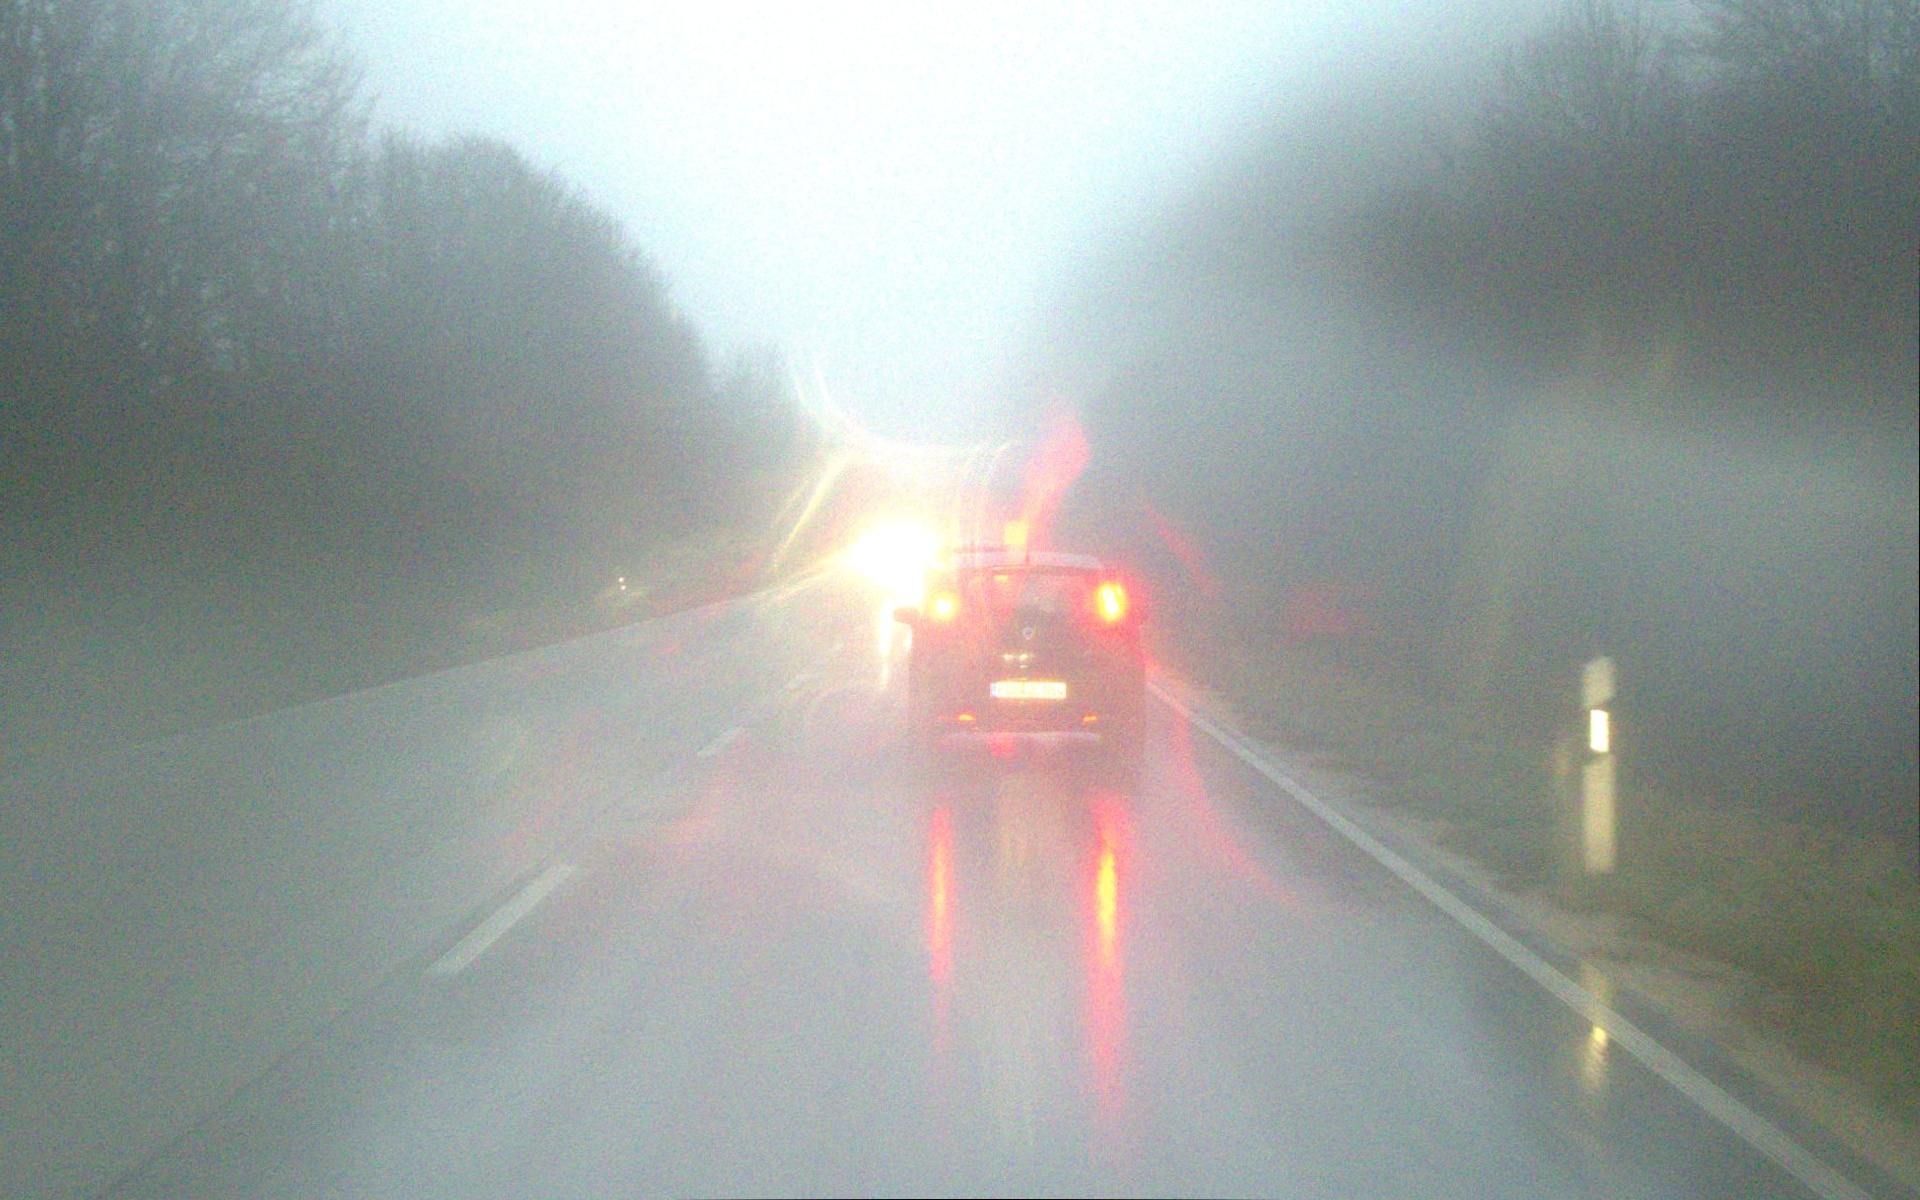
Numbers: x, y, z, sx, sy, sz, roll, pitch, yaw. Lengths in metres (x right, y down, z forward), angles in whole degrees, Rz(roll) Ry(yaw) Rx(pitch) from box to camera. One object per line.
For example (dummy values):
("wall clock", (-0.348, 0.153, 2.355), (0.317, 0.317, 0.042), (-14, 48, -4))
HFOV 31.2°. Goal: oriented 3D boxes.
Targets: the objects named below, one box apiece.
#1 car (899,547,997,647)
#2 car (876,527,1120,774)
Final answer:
("car", (-0.212, -0.085, 63.320), (1.733, 1.773, 4.000), (1, 1, 0))
("car", (0.307, 0.320, 25.256), (1.648, 1.666, 3.514), (1, 1, 2))
